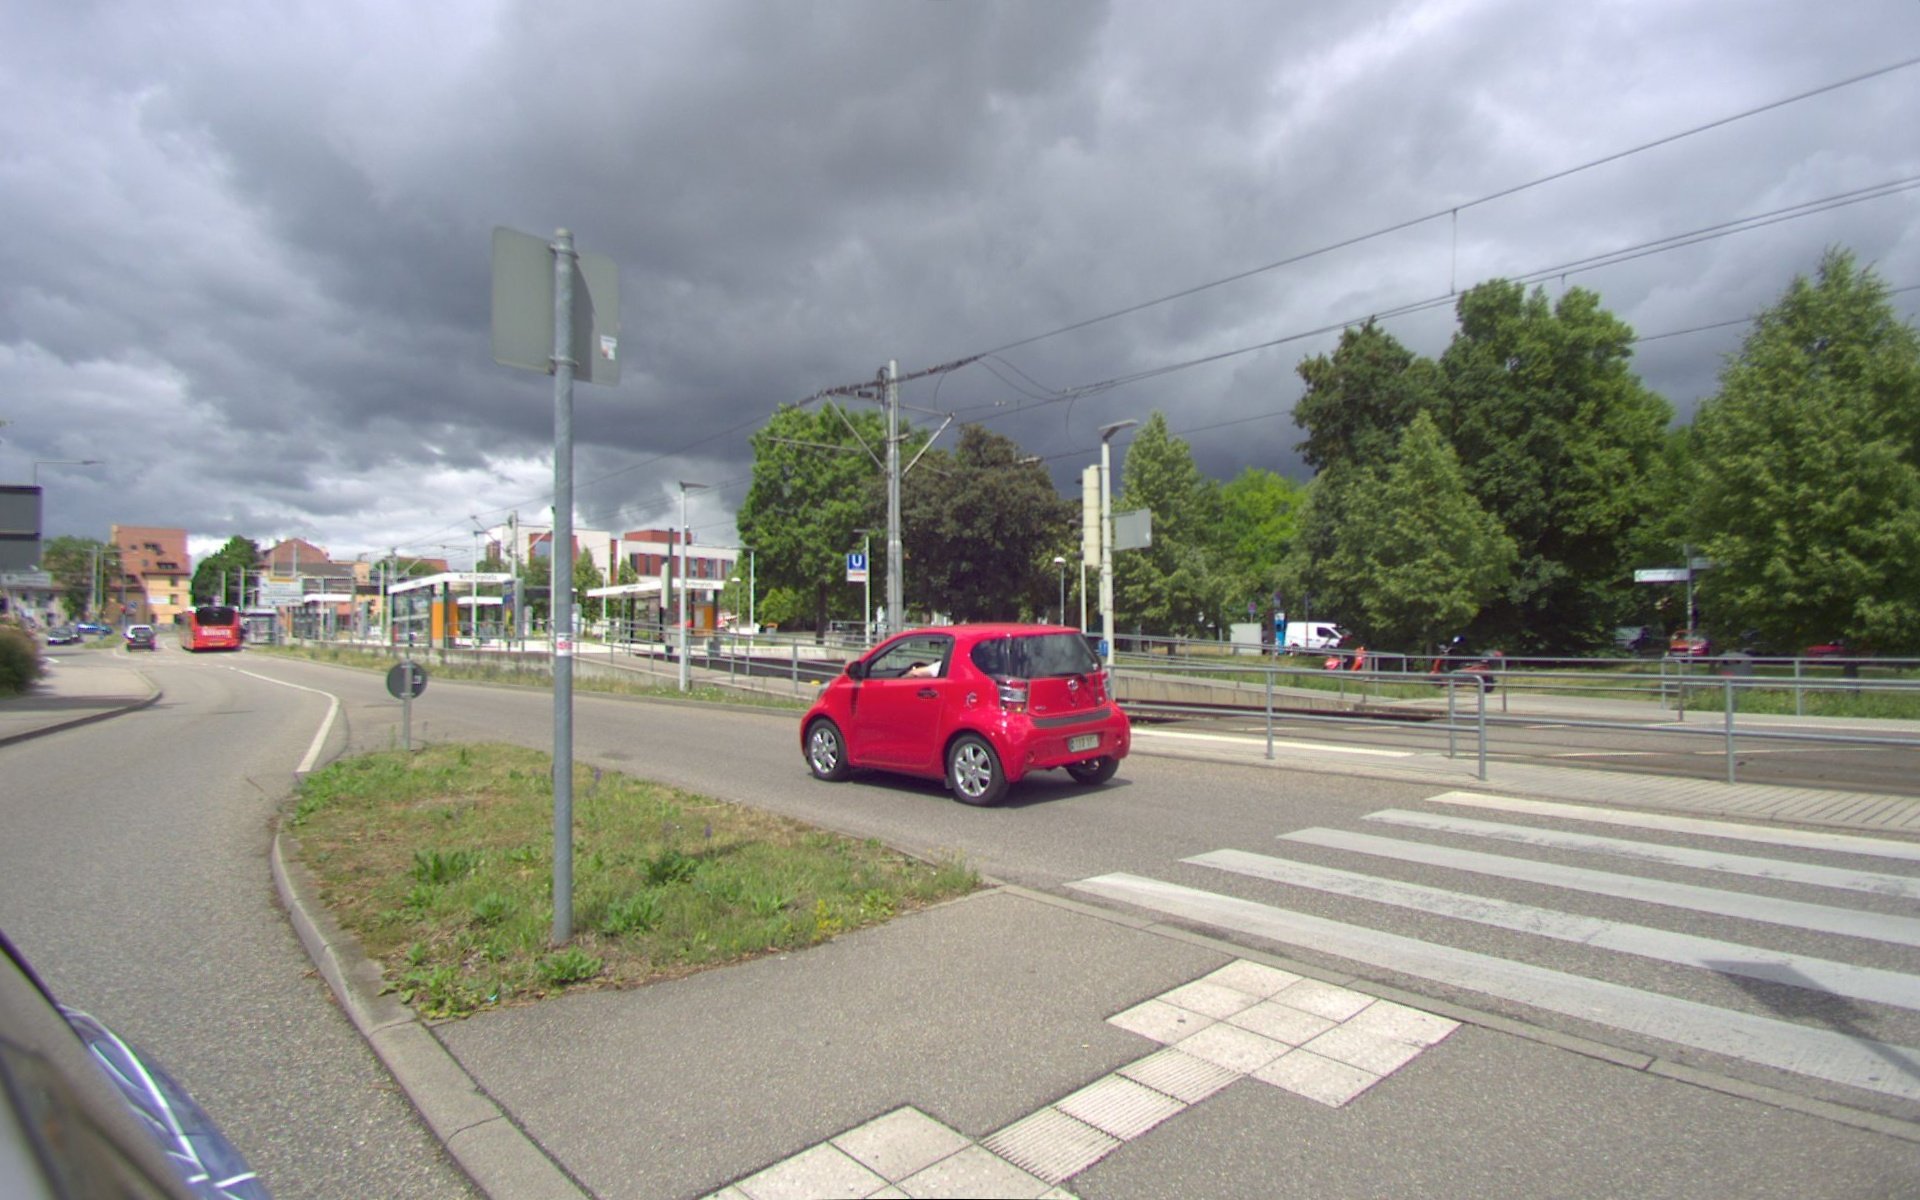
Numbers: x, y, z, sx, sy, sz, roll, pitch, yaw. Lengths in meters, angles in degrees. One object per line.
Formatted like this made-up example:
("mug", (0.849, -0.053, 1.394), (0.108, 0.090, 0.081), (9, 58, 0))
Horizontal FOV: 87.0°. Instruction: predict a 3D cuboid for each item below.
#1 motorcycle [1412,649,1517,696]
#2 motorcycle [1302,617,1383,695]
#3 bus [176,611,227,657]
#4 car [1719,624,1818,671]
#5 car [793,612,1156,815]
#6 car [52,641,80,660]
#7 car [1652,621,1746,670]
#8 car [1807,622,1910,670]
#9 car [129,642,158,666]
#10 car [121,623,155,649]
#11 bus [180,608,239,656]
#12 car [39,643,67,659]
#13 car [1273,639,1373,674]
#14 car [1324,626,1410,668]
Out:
("motorcycle", (12.369, 1.751, 24.876), (0.719, 1.089, 2.221), (1, -3, -33))
("motorcycle", (10.378, 1.507, 27.561), (0.821, 2.029, 1.989), (1, -3, -27))
("bus", (-57.624, 2.673, 76.755), (2.691, 3.133, 9.720), (1, -4, -39))
("car", (34.080, 1.993, 42.649), (3.932, 1.849, 2.005), (1, -4, -33))
("car", (0.047, 0.929, 9.236), (2.968, 1.514, 1.700), (-3, -4, 45))
("car", (-86.161, 4.876, 97.504), (1.969, 1.662, 4.425), (2, -4, -42))
("car", (32.361, 1.981, 44.318), (3.932, 2.029, 1.932), (1, -4, -33))
("car", (36.232, 1.848, 40.792), (3.932, 1.849, 2.005), (1, -4, -33))
("car", (-58.901, 3.876, 73.043), (1.510, 1.563, 3.740), (0, -1, -37))
("car", (-63.748, 2.840, 78.444), (1.740, 1.675, 4.510), (3, -8, -42))
("bus", (-51.668, 2.255, 69.591), (2.692, 3.093, 8.978), (1, -3, -40))
("car", (-82.564, 4.644, 92.105), (1.855, 1.440, 4.004), (2, -4, -42))
("car", (18.488, 2.907, 51.724), (1.917, 1.691, 4.414), (1, -4, -39))
("car", (17.879, 2.053, 44.409), (3.591, 1.719, 2.056), (1, -4, -41))
